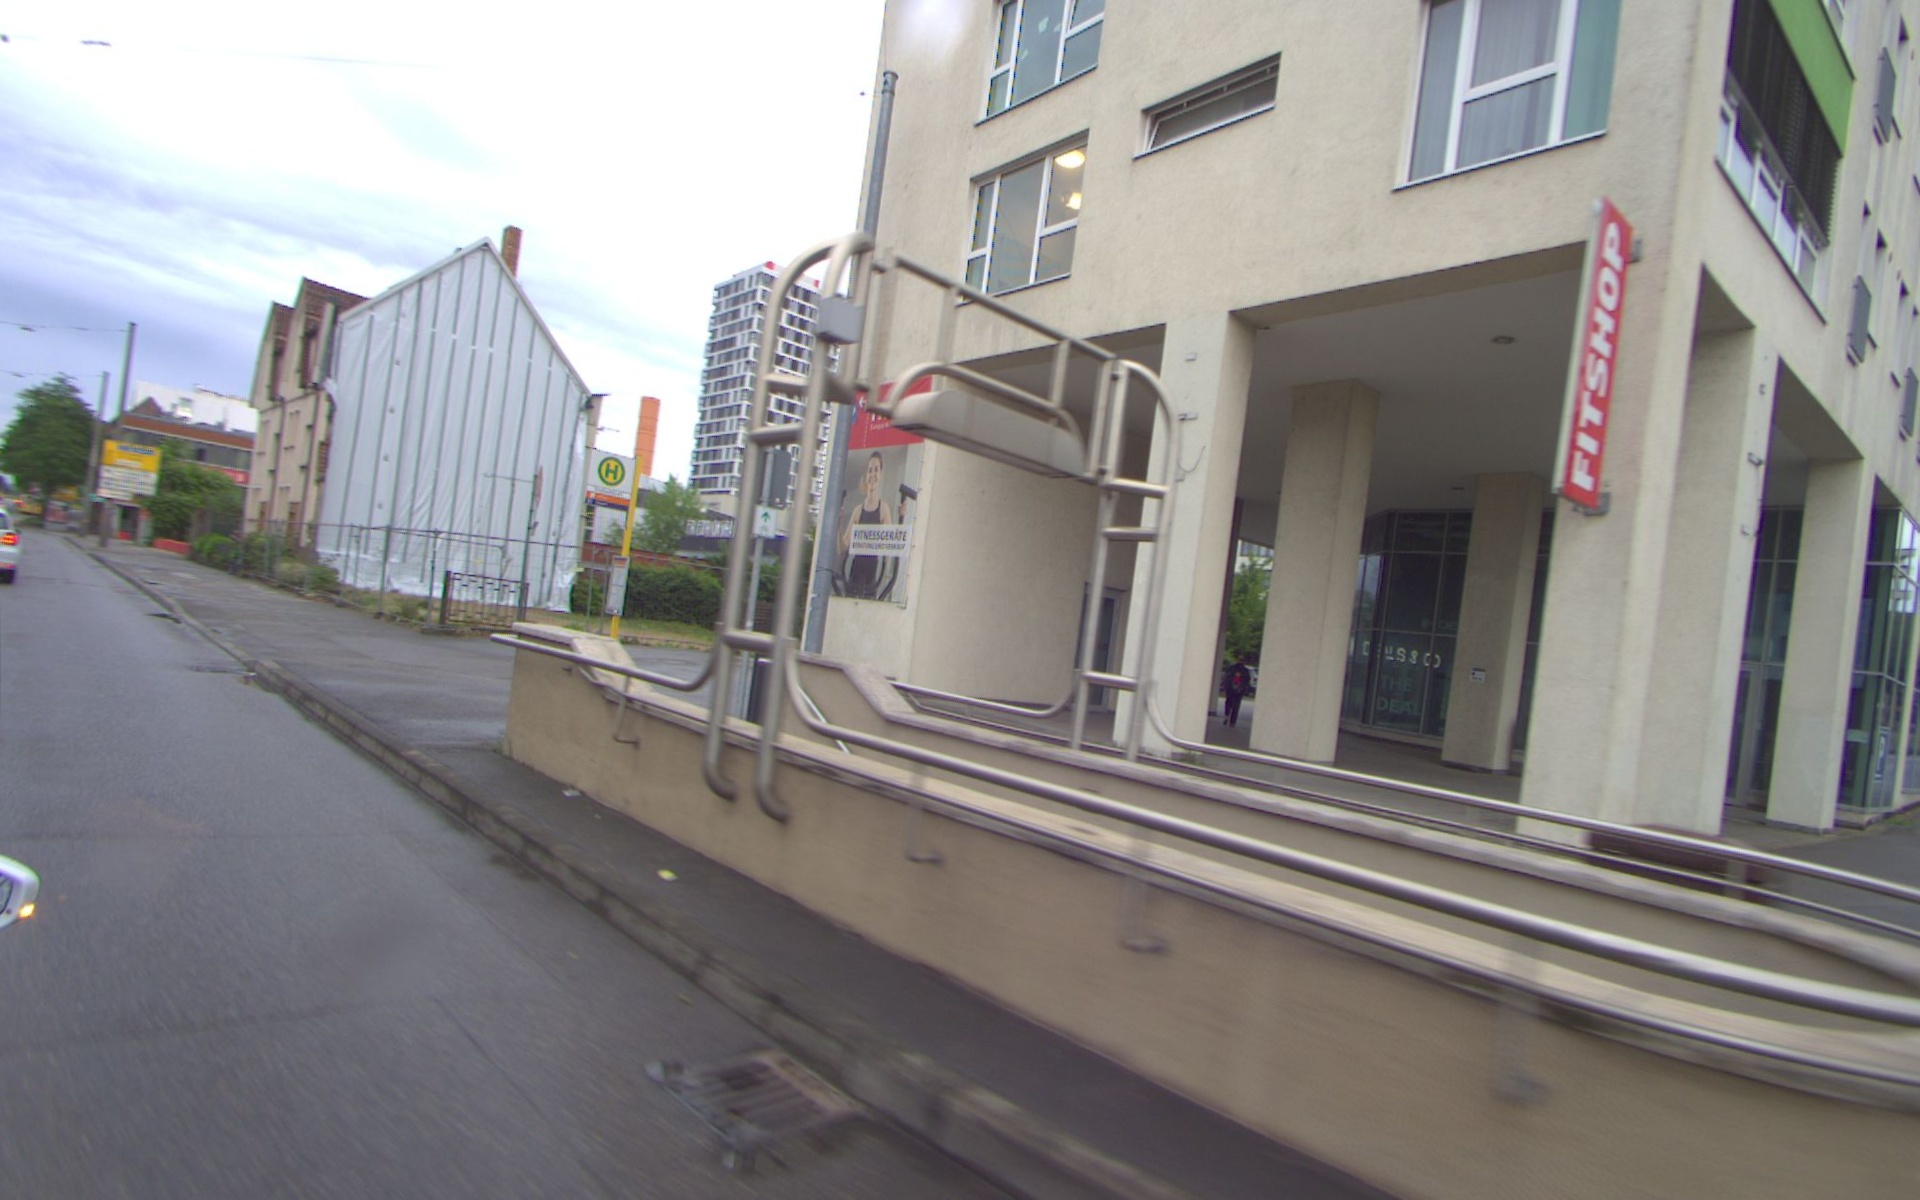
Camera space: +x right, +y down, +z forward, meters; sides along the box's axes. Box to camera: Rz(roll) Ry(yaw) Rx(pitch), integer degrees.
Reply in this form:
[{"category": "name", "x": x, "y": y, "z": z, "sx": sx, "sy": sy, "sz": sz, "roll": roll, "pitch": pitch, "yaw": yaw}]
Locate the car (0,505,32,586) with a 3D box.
[{"category": "car", "x": -19.896, "y": -1.249, "z": 19.970, "sx": 3.727, "sy": 1.490, "sz": 1.670, "roll": 6, "pitch": -3, "yaw": 41}]
